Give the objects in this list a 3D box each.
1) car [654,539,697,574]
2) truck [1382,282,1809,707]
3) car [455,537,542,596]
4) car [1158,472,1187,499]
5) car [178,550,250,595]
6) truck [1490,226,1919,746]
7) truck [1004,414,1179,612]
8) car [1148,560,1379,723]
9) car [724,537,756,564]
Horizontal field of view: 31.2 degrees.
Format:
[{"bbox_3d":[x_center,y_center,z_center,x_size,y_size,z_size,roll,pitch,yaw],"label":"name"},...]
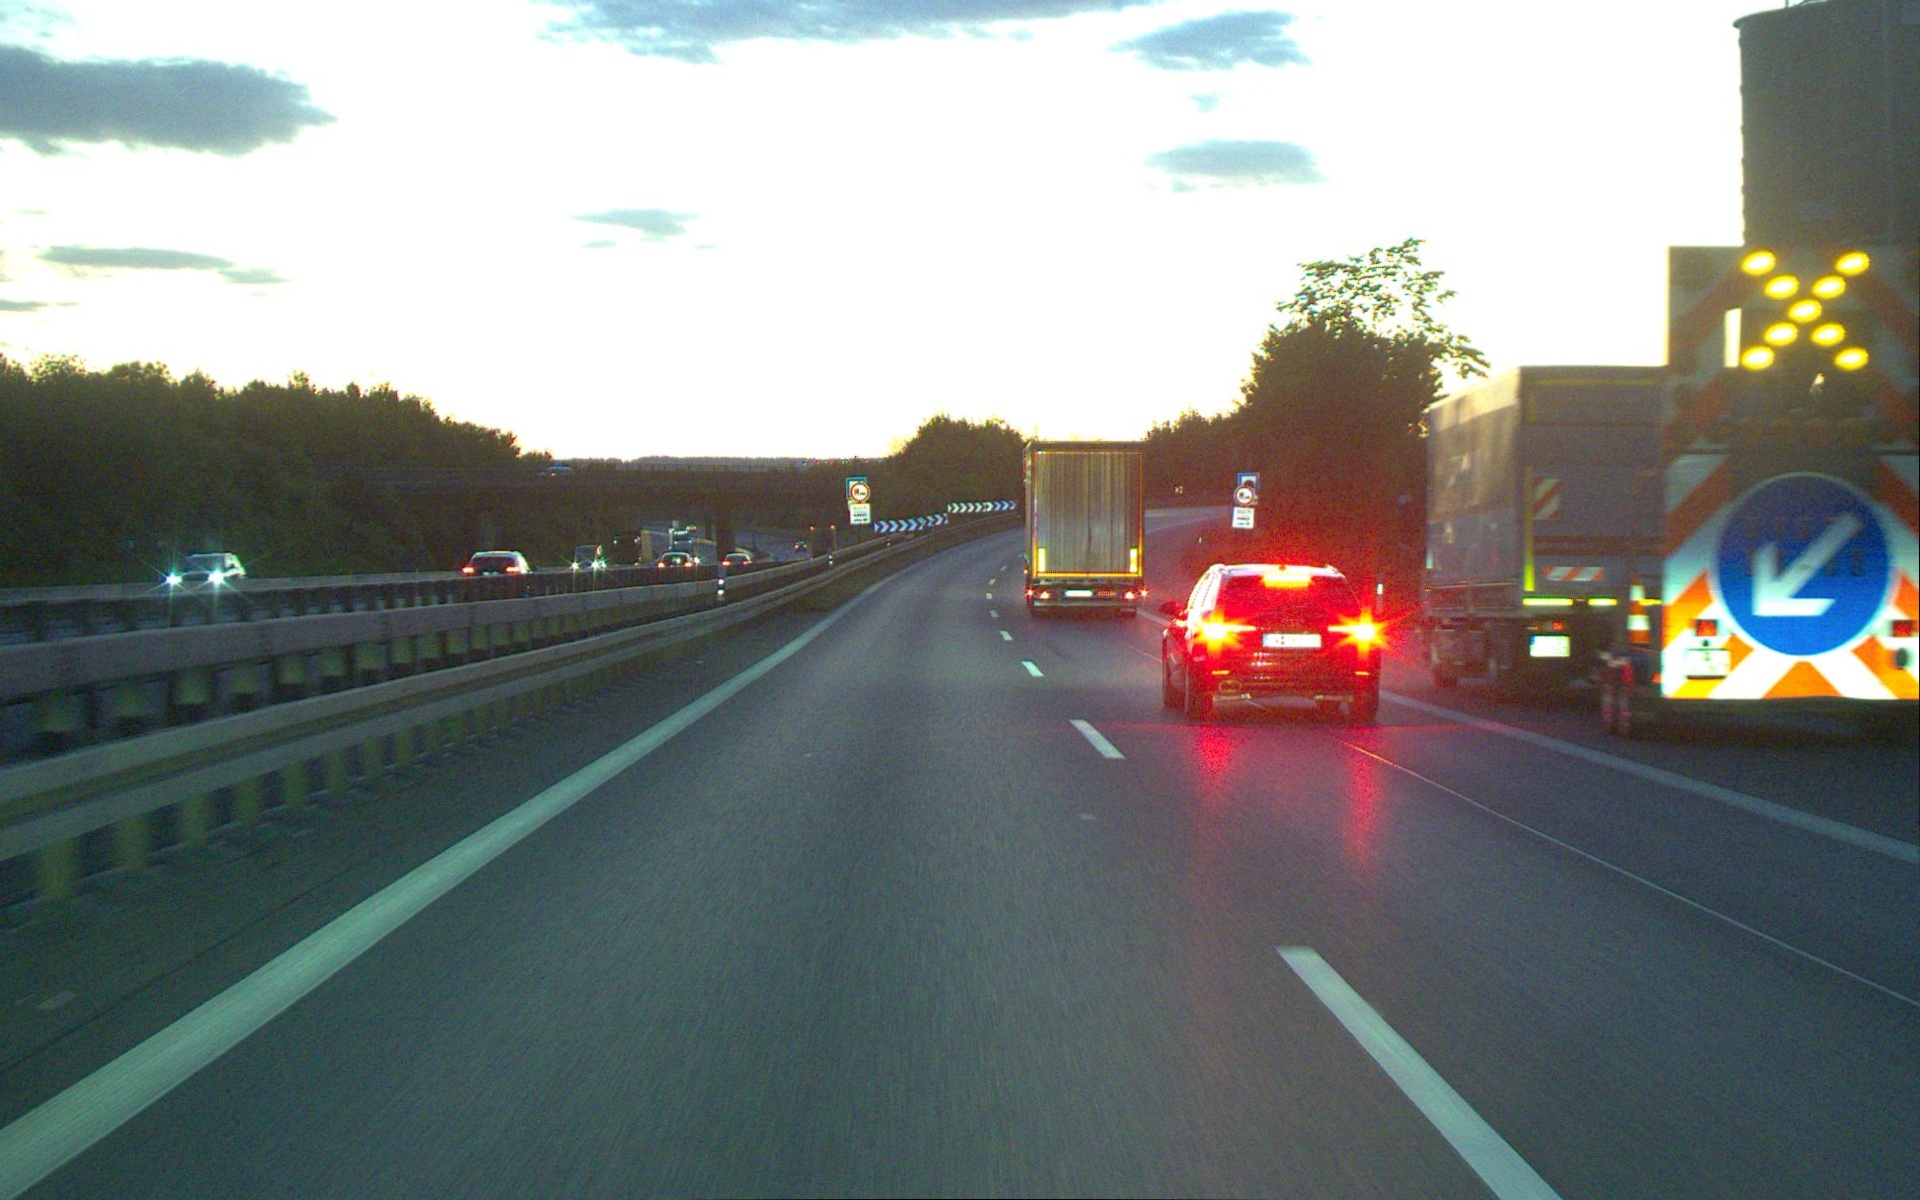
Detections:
[{"bbox_3d":[-13.640,-2.078,164.910,1.713,1.600,3.722,-2,1,0],"label":"car"},{"bbox_3d":[6.713,-1.098,37.845,2.913,4.097,9.150,0,1,-1],"label":"truck"},{"bbox_3d":[-13.123,-0.962,98.026,1.872,1.556,4.520,-2,1,-1],"label":"car"},{"bbox_3d":[15.956,-8.585,258.355,1.900,2.007,3.860,0,1,0],"label":"car"},{"bbox_3d":[-25.513,-0.959,117.687,1.668,1.489,3.674,0,1,0],"label":"car"},{"bbox_3d":[6.555,-0.947,30.066,2.788,4.045,6.412,0,1,-1],"label":"truck"},{"bbox_3d":[2.997,-2.004,81.455,3.510,4.286,9.892,-2,1,-1],"label":"truck"},{"bbox_3d":[2.843,0.349,32.931,1.915,1.437,4.000,-1,1,1],"label":"car"},{"bbox_3d":[-13.305,-2.997,208.120,1.638,1.541,3.395,-2,1,0],"label":"car"}]
